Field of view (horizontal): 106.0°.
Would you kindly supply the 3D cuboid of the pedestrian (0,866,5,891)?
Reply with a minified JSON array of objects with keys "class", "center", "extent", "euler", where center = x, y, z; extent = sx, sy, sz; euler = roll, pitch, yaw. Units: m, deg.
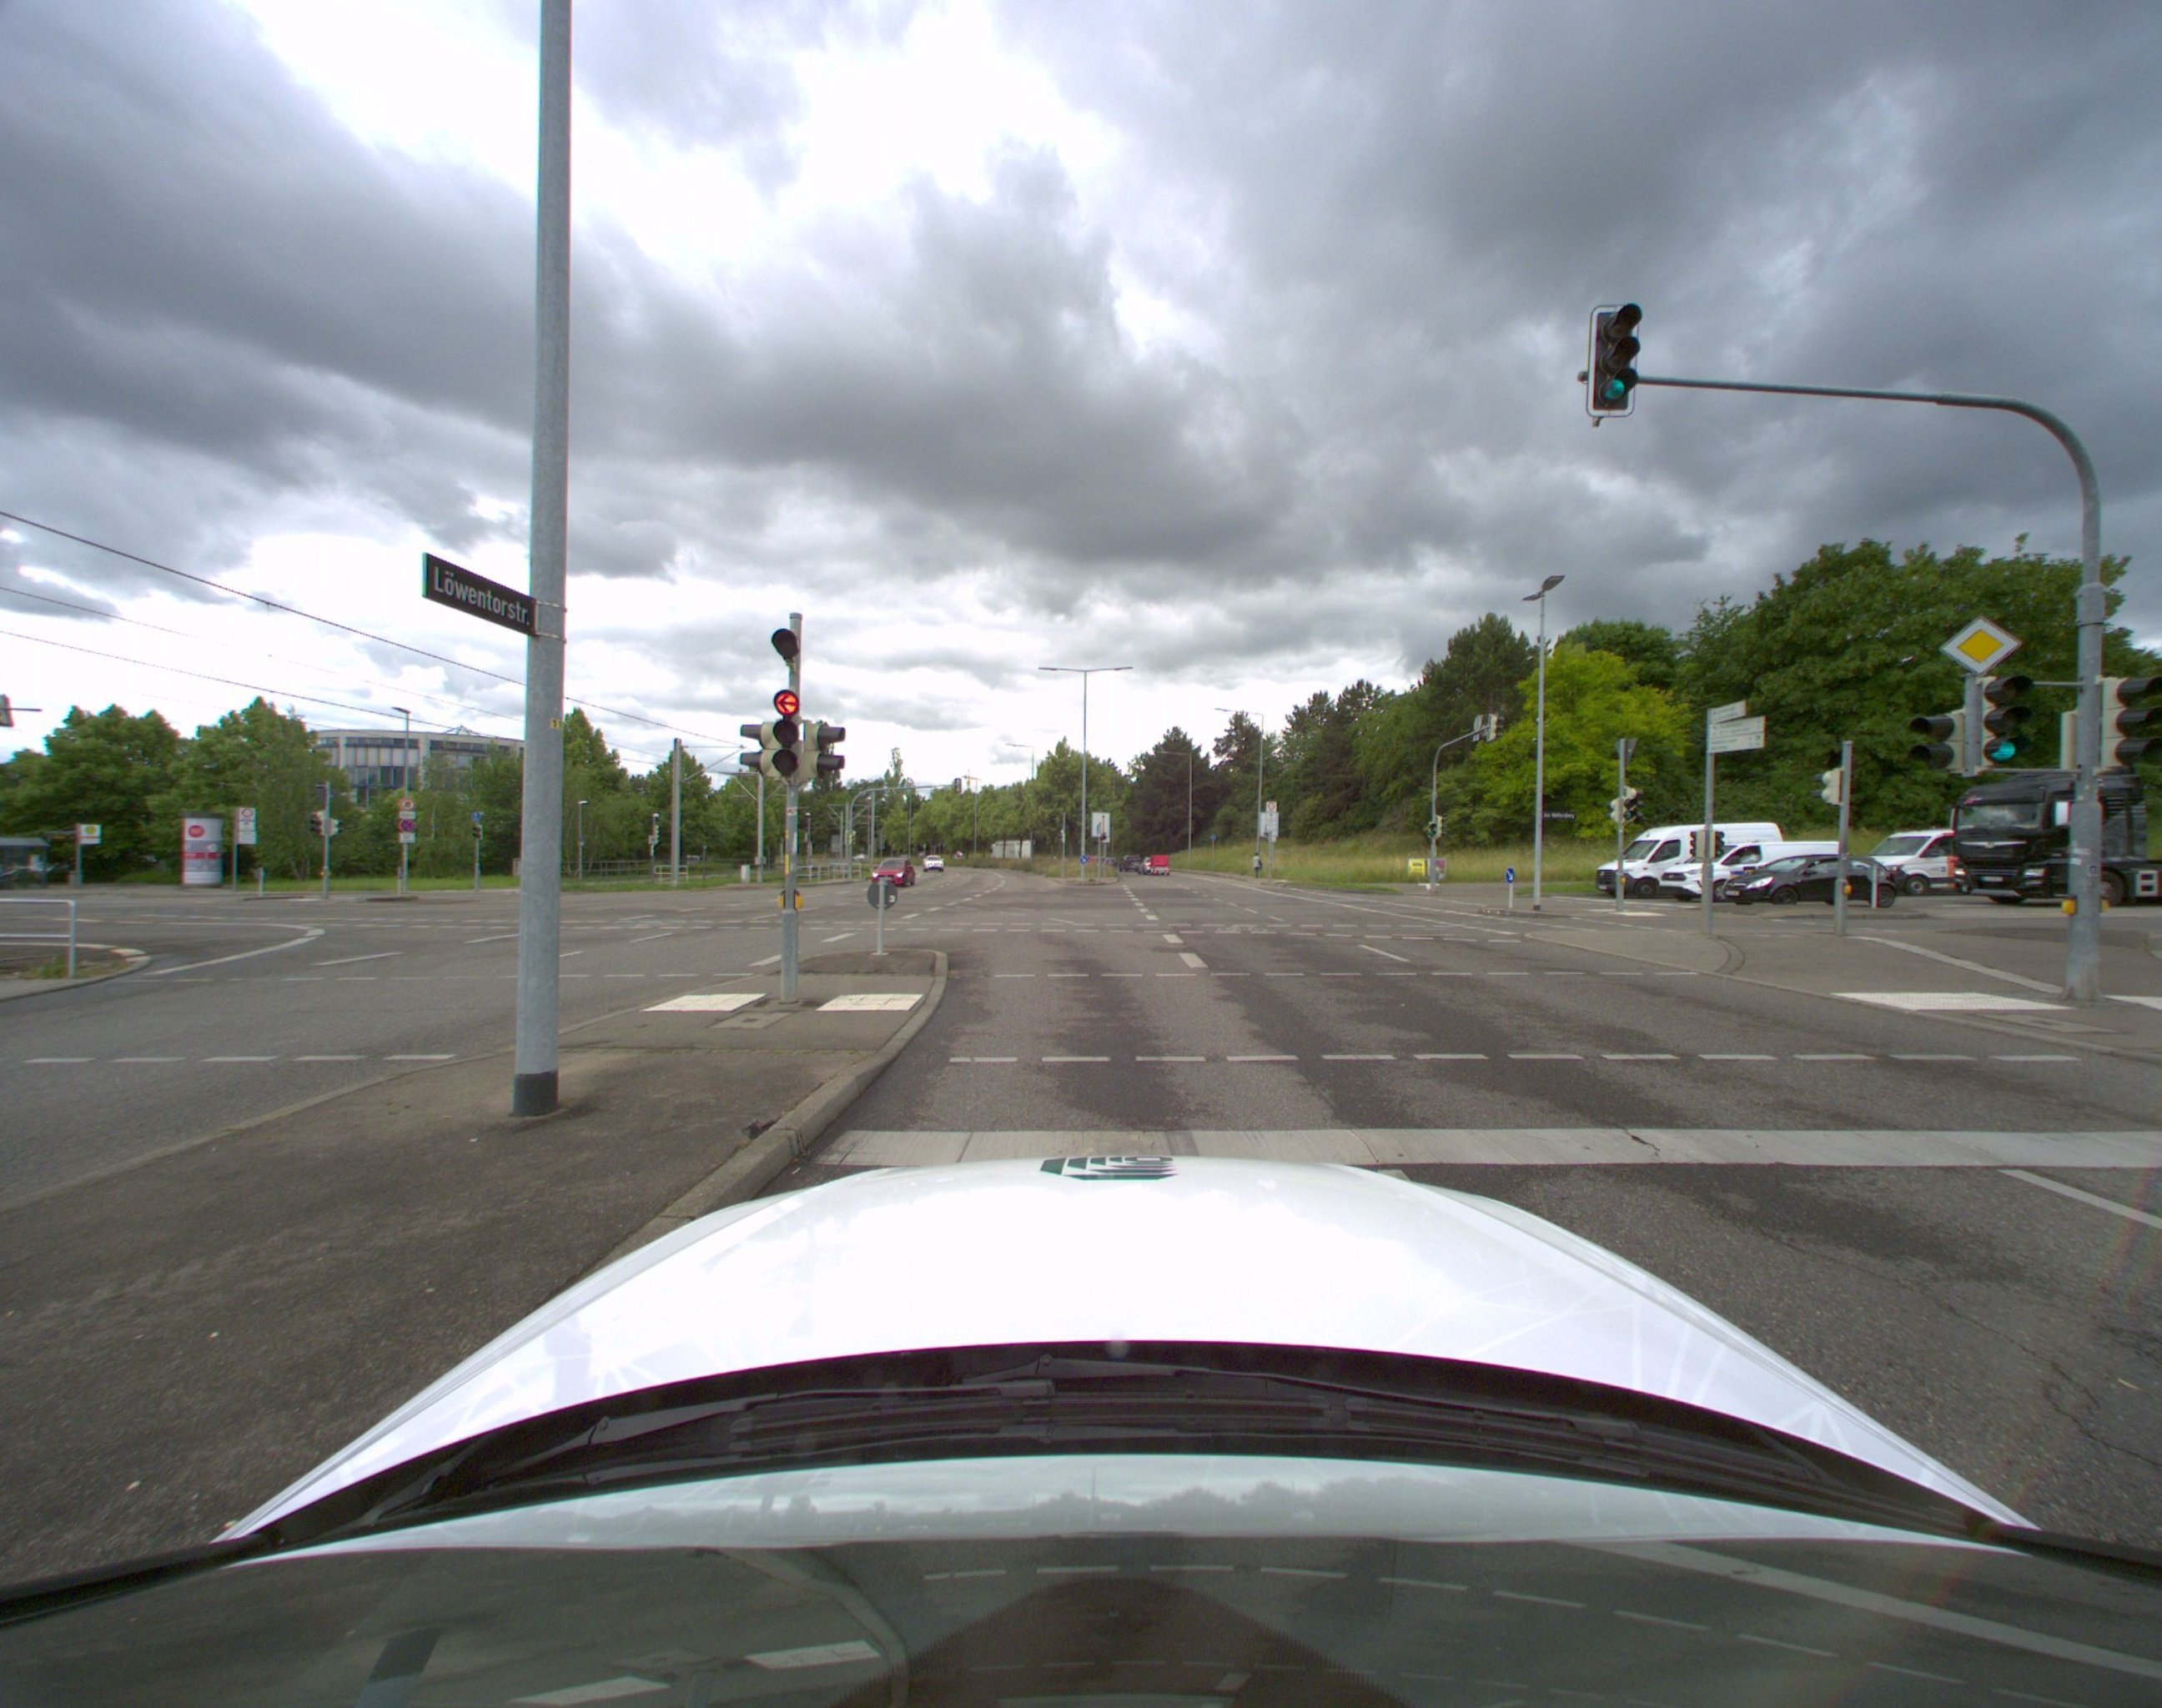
[{"class":"pedestrian","center":[-57.773,1.297,43.164],"extent":[0.774,1.303,0.666],"euler":[0,0,15]}]

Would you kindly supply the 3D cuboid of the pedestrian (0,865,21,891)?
[{"class":"pedestrian","center":[-56.442,1.256,42.791],"extent":[0.774,1.304,0.666],"euler":[0,0,15]}]

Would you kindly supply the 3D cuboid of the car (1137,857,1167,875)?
[{"class":"car","center":[5.976,0.998,68.941],"extent":[1.775,1.421,4.451],"euler":[0,0,-5]}]

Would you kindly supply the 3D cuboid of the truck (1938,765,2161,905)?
[{"class":"truck","center":[27.932,-0.515,22.271],"extent":[6.027,3.538,2.729],"euler":[-1,0,2]}]

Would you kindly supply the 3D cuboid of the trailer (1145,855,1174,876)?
[{"class":"trailer","center":[6.279,0.900,65.216],"extent":[1.762,1.616,3.039],"euler":[0,0,-5]}]

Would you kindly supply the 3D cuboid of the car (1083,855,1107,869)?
[{"class":"car","center":[1.626,0.913,96.349],"extent":[1.781,1.546,4.004],"euler":[-2,2,-16]}]

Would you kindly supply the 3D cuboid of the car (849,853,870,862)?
[{"class":"car","center":[-43.768,0.742,160.883],"extent":[3.949,1.684,2.012],"euler":[-1,-1,40]}]

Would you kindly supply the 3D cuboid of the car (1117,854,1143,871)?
[{"class":"car","center":[4.785,0.831,80.382],"extent":[1.777,1.546,4.014],"euler":[0,0,-8]}]

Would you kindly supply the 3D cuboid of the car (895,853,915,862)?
[{"class":"car","center":[-33.008,0.597,152.713],"extent":[2.011,1.684,3.951],"euler":[0,-1,-44]}]

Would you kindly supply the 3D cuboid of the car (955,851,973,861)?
[{"class":"car","center":[-19.791,0.349,137.782],"extent":[1.787,1.546,3.990],"euler":[-1,0,-26]}]

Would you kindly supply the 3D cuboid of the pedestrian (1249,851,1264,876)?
[{"class":"pedestrian","center":[11.375,0.608,52.675],"extent":[0.811,1.627,0.791],"euler":[0,0,1]}]

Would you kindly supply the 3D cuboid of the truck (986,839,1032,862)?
[{"class":"truck","center":[-11.122,-0.483,124.089],"extent":[2.756,3.328,11.301],"euler":[0,0,-29]}]

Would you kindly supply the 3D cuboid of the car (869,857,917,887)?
[{"class":"car","center":[-9.777,0.903,42.706],"extent":[1.778,1.443,4.418],"euler":[-1,0,-5]}]

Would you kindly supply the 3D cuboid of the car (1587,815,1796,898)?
[{"class":"car","center":[21.896,0.095,29.411],"extent":[5.870,2.781,2.136],"euler":[-1,0,2]}]

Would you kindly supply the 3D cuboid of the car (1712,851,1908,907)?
[{"class":"car","center":[20.278,0.669,22.775],"extent":[3.905,1.436,1.732],"euler":[-1,0,1]}]

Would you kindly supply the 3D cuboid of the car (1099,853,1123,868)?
[{"class":"car","center":[3.285,0.712,89.876],"extent":[1.778,1.546,4.010],"euler":[-1,0,-10]}]

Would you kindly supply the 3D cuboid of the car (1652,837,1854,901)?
[{"class":"car","center":[21.589,0.458,26.331],"extent":[4.836,1.896,2.034],"euler":[-1,0,1]}]

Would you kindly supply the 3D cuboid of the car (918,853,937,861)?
[{"class":"car","center":[-31.622,0.683,168.175],"extent":[1.762,1.546,4.048],"euler":[0,0,25]}]

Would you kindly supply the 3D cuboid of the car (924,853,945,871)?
[{"class":"car","center":[-14.242,0.773,79.297],"extent":[1.827,1.629,4.414],"euler":[-1,0,-7]}]

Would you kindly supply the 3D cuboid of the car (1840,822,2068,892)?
[{"class":"car","center":[30.680,0.110,28.765],"extent":[5.677,2.289,2.136],"euler":[-1,0,2]}]
